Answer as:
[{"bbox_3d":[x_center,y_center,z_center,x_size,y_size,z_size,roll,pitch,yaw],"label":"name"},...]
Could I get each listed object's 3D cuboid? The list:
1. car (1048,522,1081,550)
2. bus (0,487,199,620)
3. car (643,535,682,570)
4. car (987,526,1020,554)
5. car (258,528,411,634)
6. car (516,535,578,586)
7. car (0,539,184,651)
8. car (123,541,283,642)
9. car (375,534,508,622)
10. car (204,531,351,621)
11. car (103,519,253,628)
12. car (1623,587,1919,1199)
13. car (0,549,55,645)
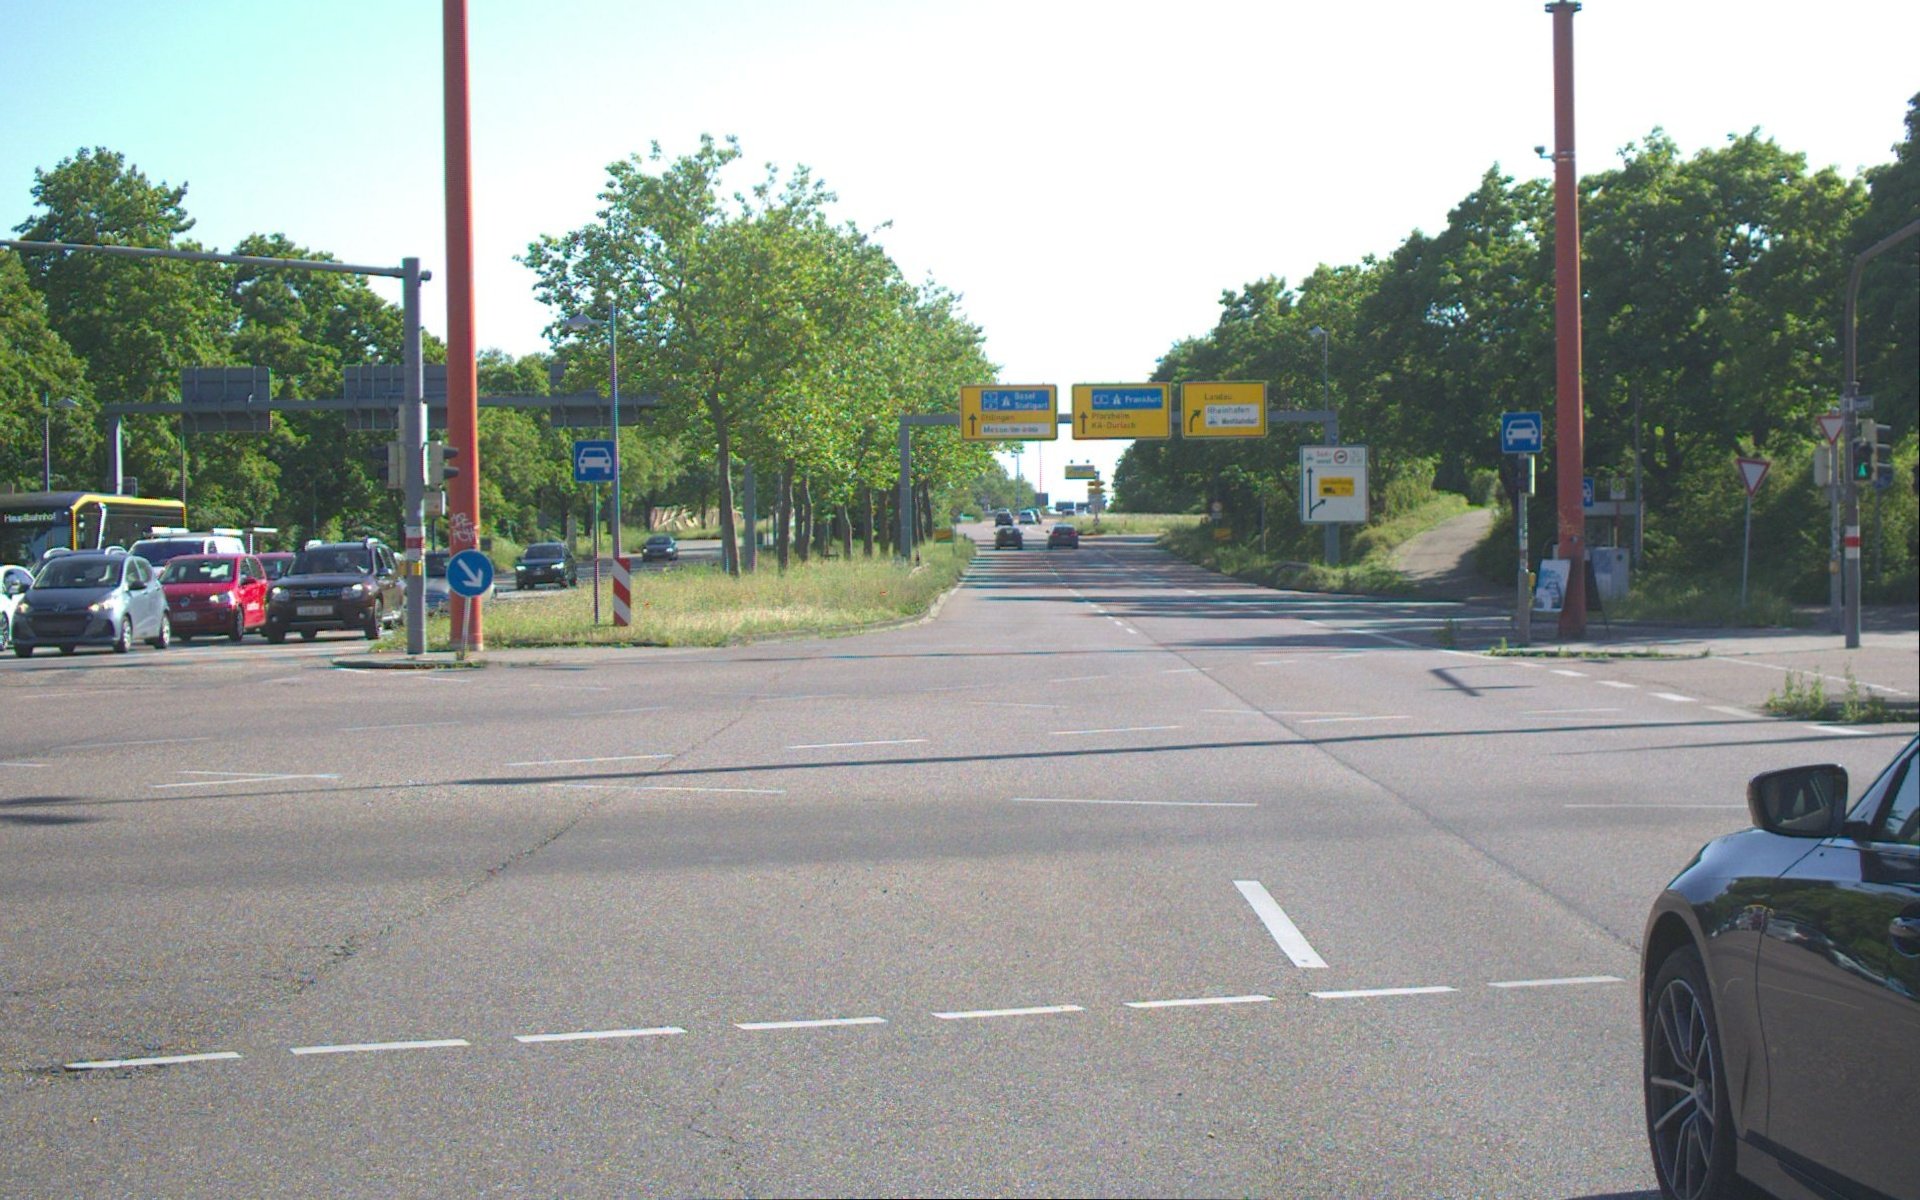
[{"bbox_3d":[6.713,-4.113,221.109,1.993,1.727,4.000,1,1,-1],"label":"car"},{"bbox_3d":[-22.931,-1.204,90.960,2.646,3.250,12.536,1,1,1],"label":"bus"},{"bbox_3d":[-17.428,-2.811,201.351,1.920,1.992,4.604,-1,1,-1],"label":"car"},{"bbox_3d":[2.744,-3.810,217.433,1.993,1.727,4.000,1,1,-1],"label":"car"},{"bbox_3d":[-10.206,-0.333,56.376,1.793,1.620,4.144,-2,1,-1],"label":"car"},{"bbox_3d":[-15.275,-1.487,127.322,1.837,1.831,3.961,-1,1,-1],"label":"car"},{"bbox_3d":[-13.212,-0.104,52.301,1.874,1.545,4.028,-2,1,-1],"label":"car"},{"bbox_3d":[-12.860,-0.164,58.639,1.875,1.547,4.000,-4,1,-2],"label":"car"},{"bbox_3d":[-9.685,-0.438,64.519,1.885,1.538,4.000,-2,1,-1],"label":"car"},{"bbox_3d":[-12.798,-0.459,64.635,1.901,1.624,4.000,0,1,1],"label":"car"},{"bbox_3d":[-16.059,-0.573,70.840,1.961,2.147,5.082,-1,1,-1],"label":"car"},{"bbox_3d":[2.521,0.723,5.902,1.764,1.436,4.295,1,1,-2],"label":"car"},{"bbox_3d":[-16.525,-0.056,57.292,1.901,1.549,4.000,-2,1,-2],"label":"car"}]
